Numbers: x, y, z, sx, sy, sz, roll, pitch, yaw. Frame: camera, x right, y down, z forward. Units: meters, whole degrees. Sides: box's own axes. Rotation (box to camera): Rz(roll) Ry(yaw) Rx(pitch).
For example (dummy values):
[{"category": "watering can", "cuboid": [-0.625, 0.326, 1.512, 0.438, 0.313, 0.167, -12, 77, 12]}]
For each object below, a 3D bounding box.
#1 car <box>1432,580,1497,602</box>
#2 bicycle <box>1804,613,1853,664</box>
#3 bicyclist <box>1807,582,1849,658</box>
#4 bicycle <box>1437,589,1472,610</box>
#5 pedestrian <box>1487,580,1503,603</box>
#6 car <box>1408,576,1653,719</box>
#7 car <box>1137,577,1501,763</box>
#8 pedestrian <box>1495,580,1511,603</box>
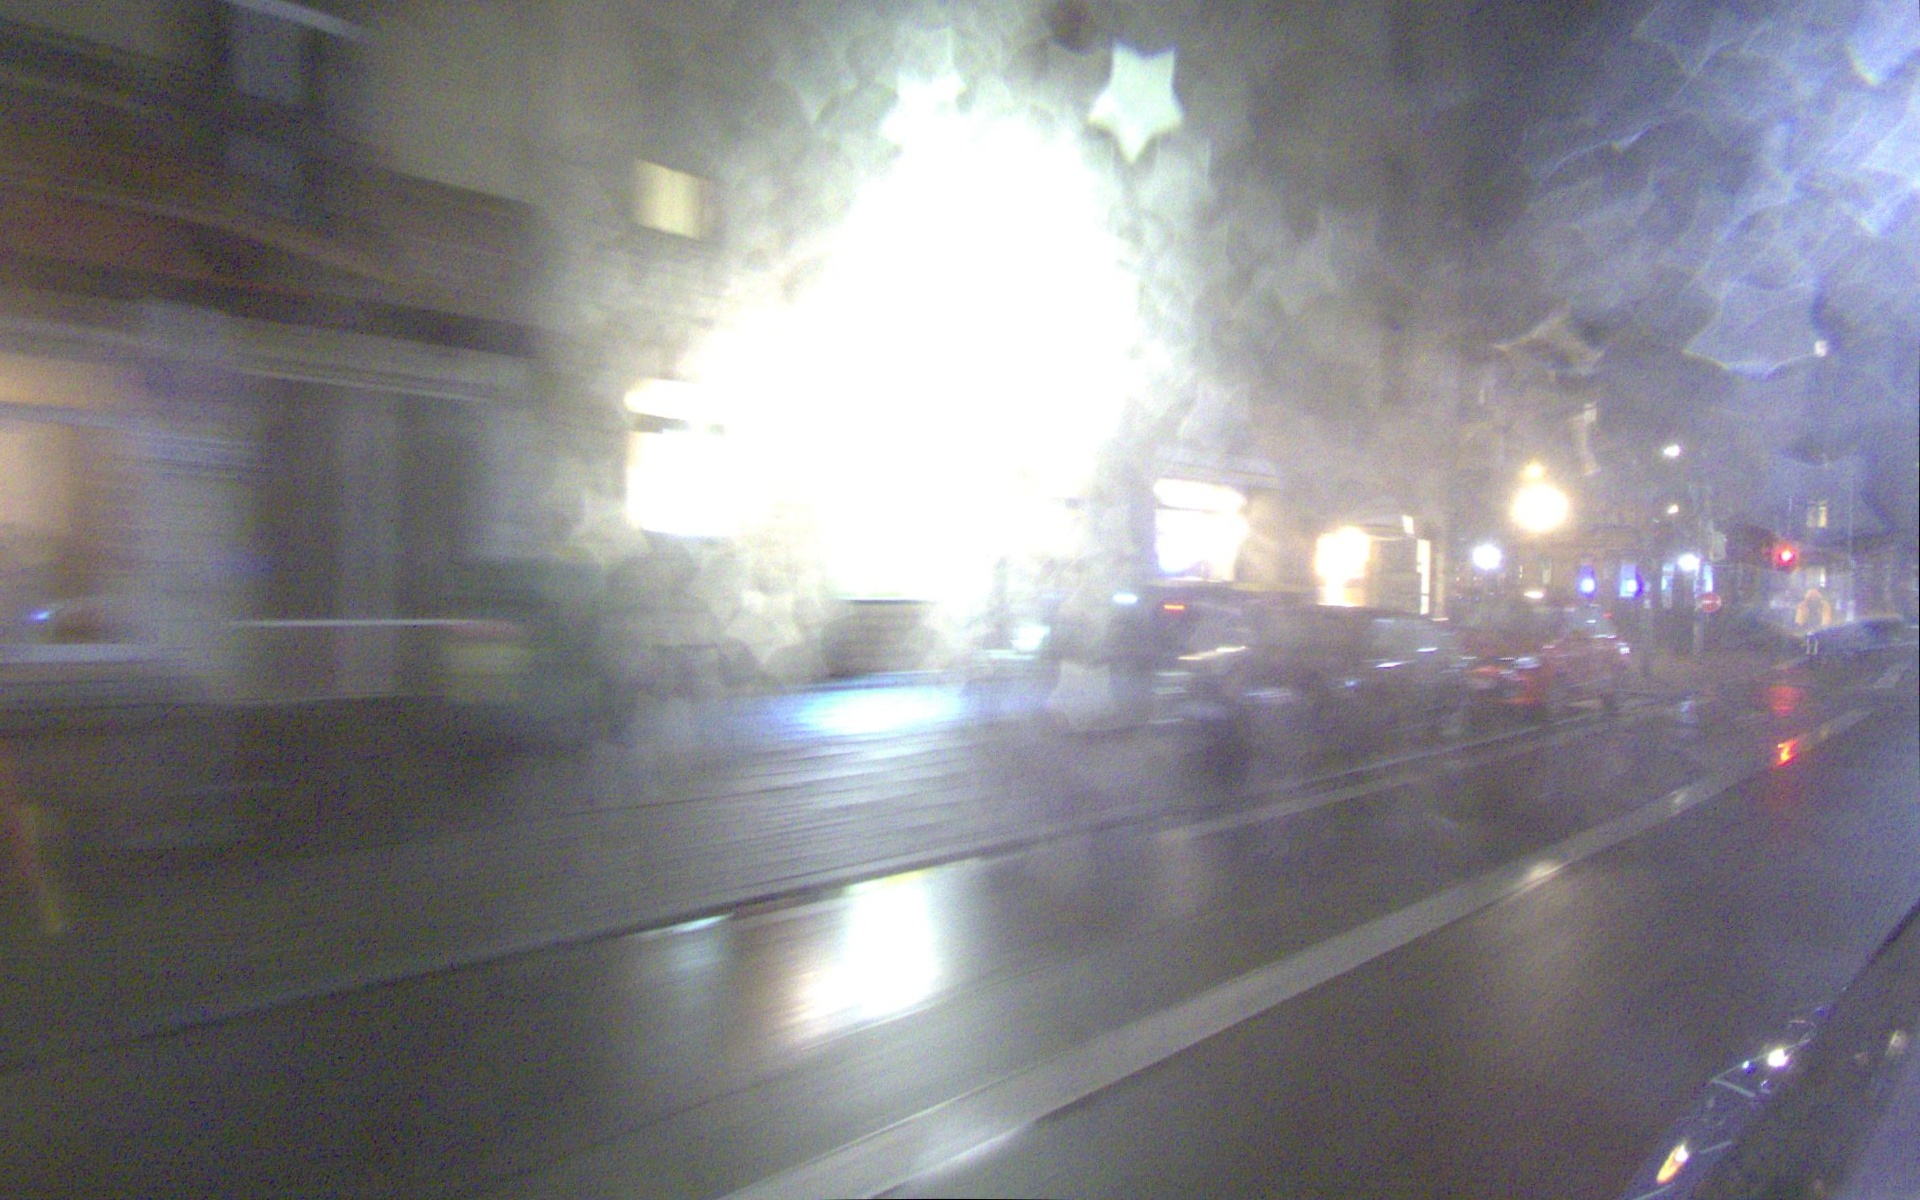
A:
[{"category": "car", "cuboid": [38.248, -0.689, 76.869, 1.849, 1.613, 4.506, -1, 1, -15]}, {"category": "bicycle", "cuboid": [18.184, 0.783, 21.211, 0.568, 0.981, 1.758, -1, 0, 35]}, {"category": "bicyclist", "cuboid": [18.213, 0.402, 21.254, 0.568, 1.567, 0.806, -1, 0, 35]}, {"category": "bicycle", "cuboid": [26.514, -0.036, 54.253, 1.616, 1.094, 0.557, 1, 3, 37]}, {"category": "pedestrian", "cuboid": [40.236, -0.623, 76.087, 0.621, 1.658, 0.876, -1, 0, -13]}, {"category": "car", "cuboid": [7.712, 0.544, 13.581, 3.517, 1.542, 1.652, 0, 5, -40]}, {"category": "car", "cuboid": [3.828, 0.585, 10.490, 3.982, 1.458, 1.650, 0, 5, -39]}, {"category": "pedestrian", "cuboid": [40.886, -0.638, 76.270, 0.621, 1.658, 0.844, -1, 0, -13]}]
